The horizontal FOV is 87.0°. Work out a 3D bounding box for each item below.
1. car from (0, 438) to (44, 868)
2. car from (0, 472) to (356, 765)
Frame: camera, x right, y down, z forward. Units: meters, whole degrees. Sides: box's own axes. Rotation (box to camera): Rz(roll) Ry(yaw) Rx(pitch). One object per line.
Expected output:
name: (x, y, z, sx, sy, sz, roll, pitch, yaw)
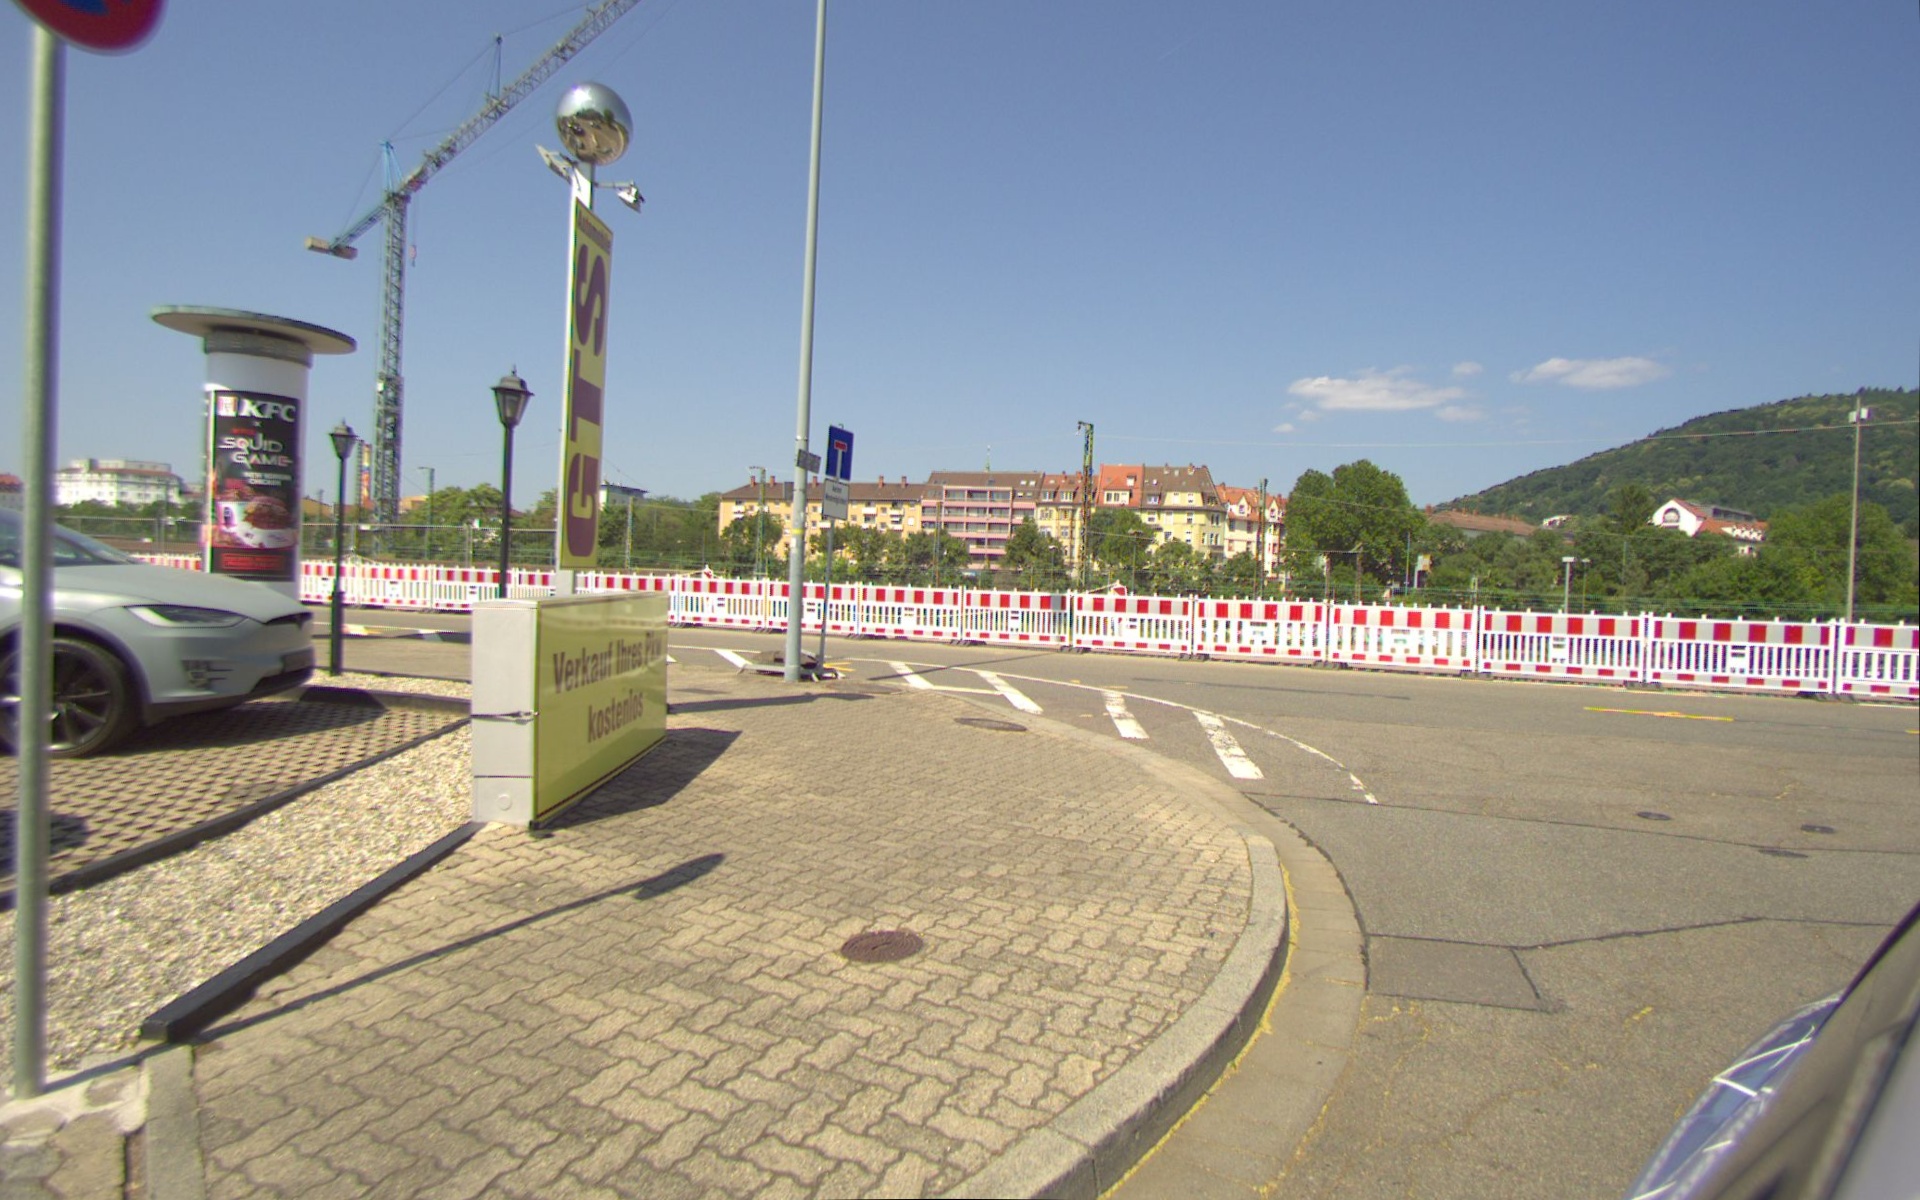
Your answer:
car: (-6.343, 0.197, 3.372, 4.724, 1.801, 2.018, 1, 2, -2)
car: (-6.920, 0.050, 6.606, 4.716, 1.713, 2.022, 1, 2, -14)
